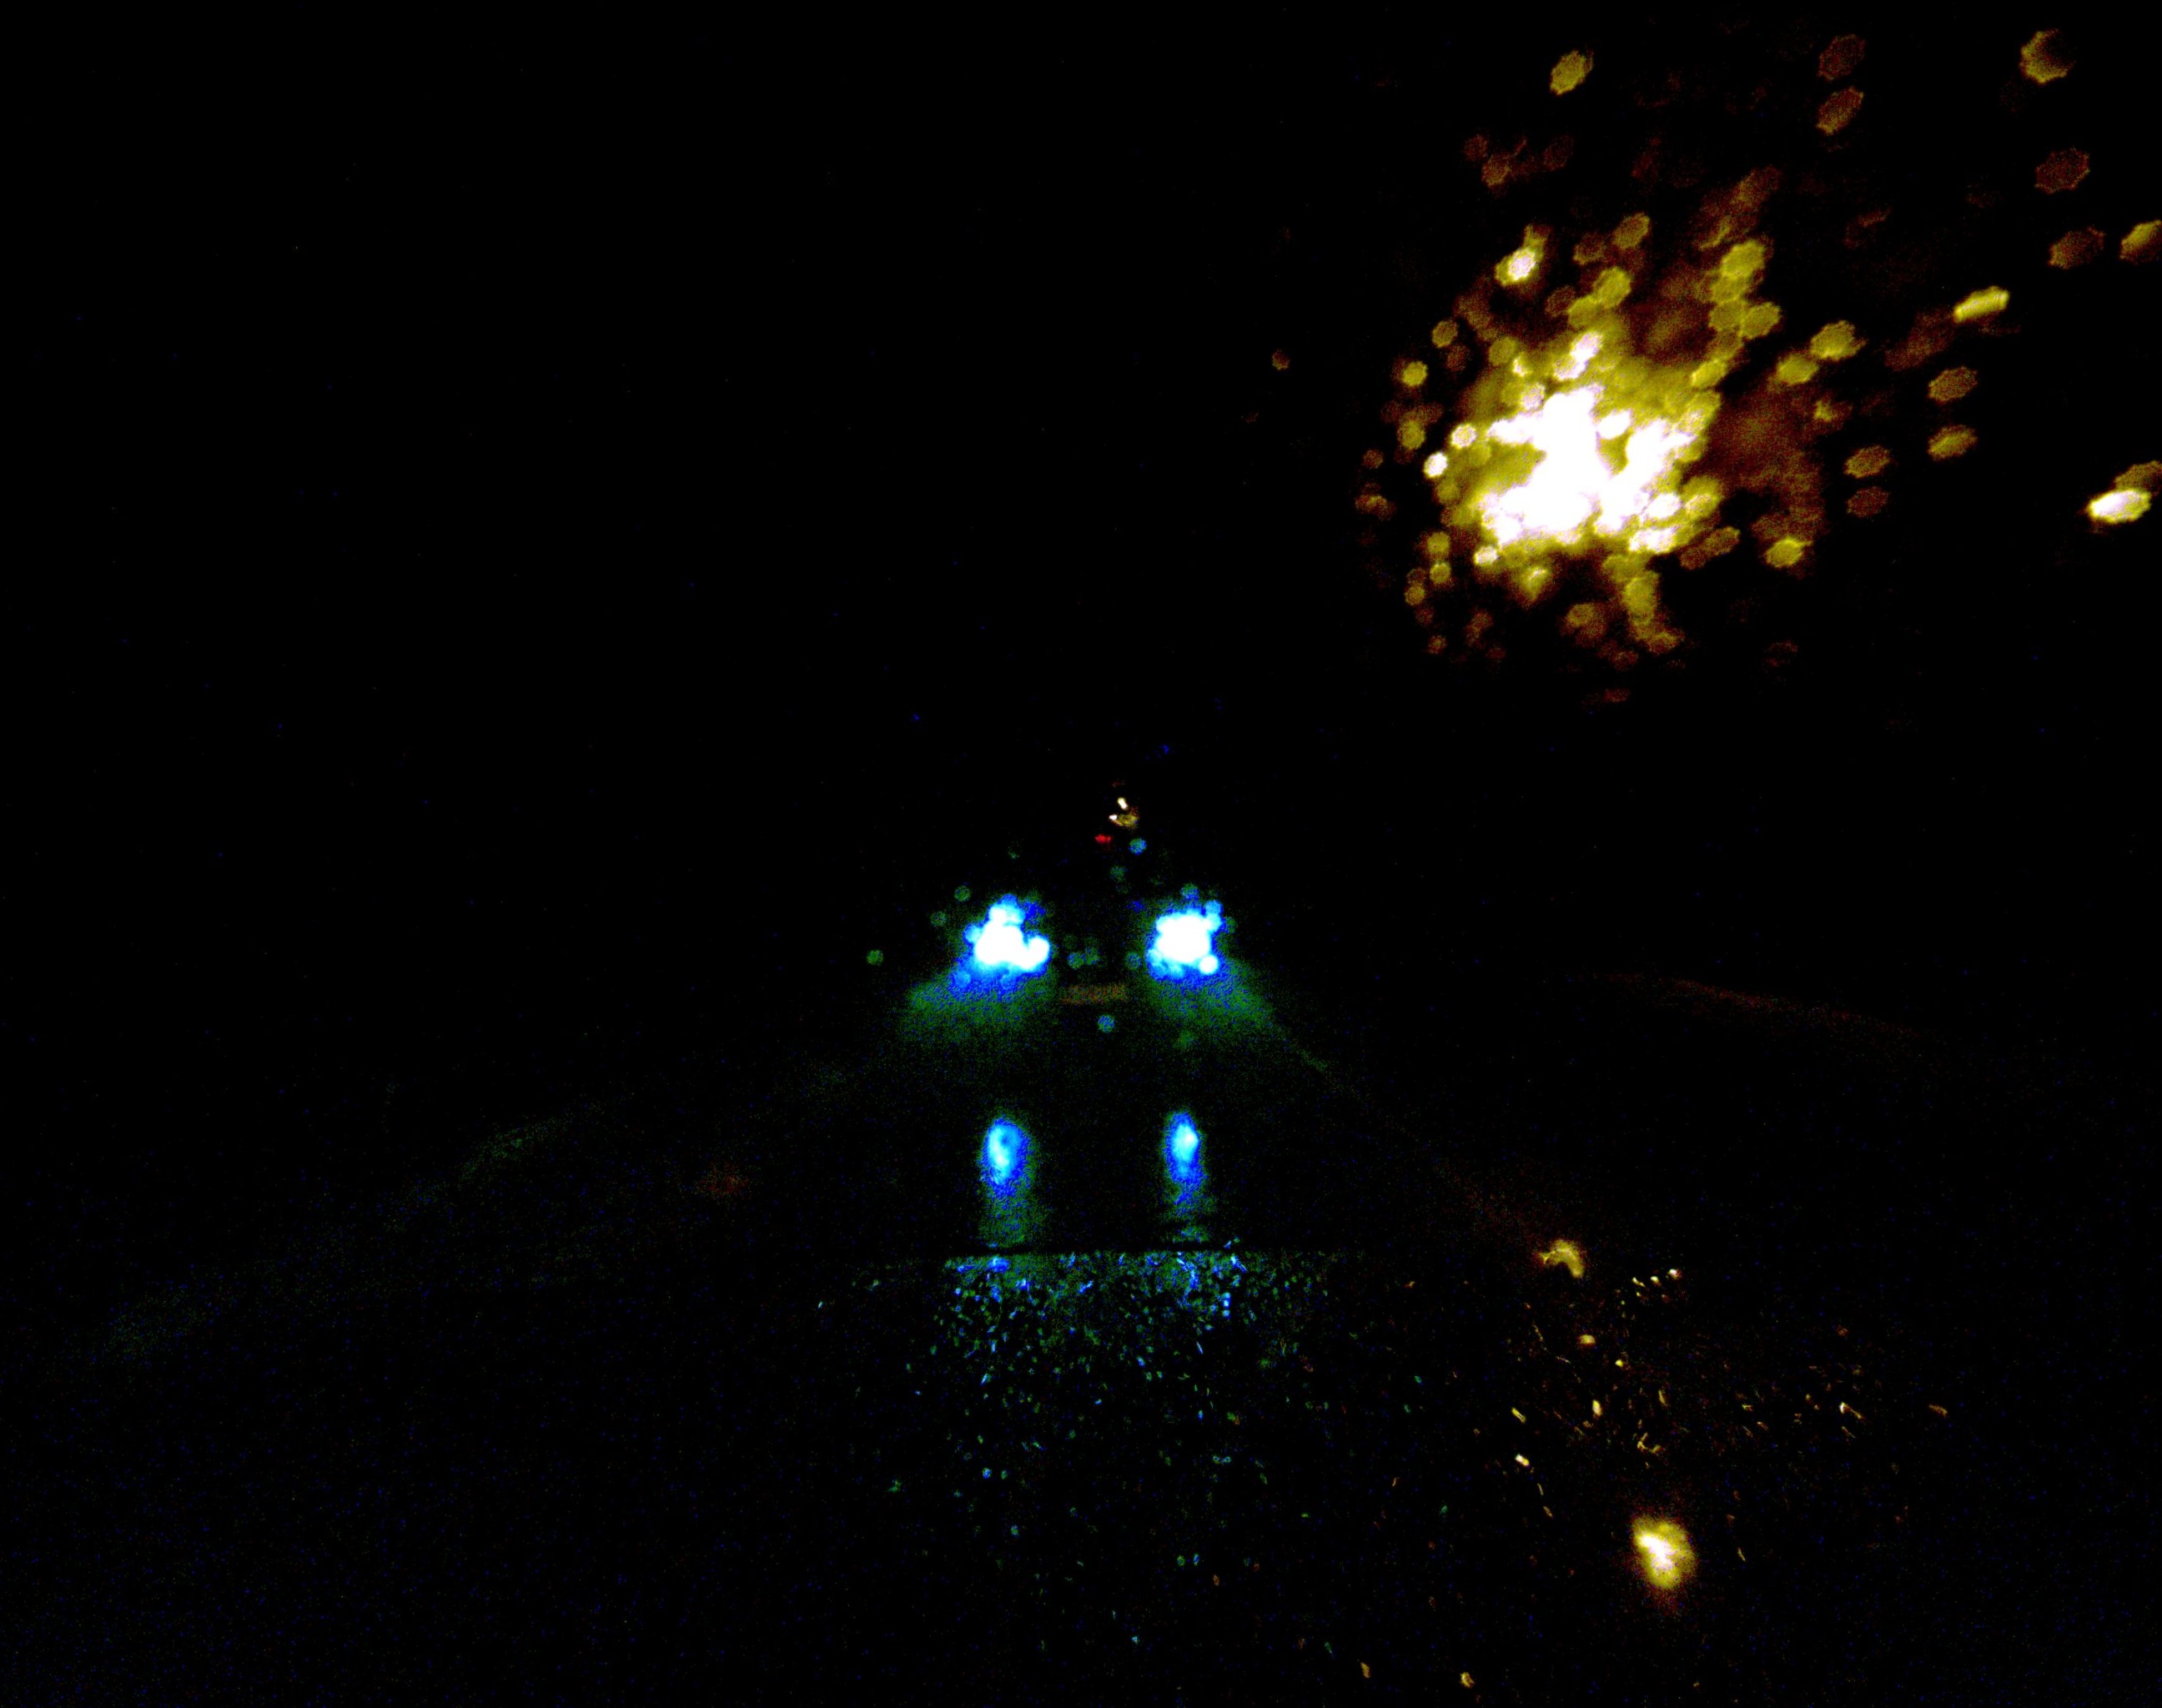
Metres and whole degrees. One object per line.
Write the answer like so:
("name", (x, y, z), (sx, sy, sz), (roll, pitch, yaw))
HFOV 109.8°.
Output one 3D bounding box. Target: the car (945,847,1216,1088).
("car", (0.134, 0.804, 7.564), (1.893, 1.678, 4.340), (-1, 1, 4))
